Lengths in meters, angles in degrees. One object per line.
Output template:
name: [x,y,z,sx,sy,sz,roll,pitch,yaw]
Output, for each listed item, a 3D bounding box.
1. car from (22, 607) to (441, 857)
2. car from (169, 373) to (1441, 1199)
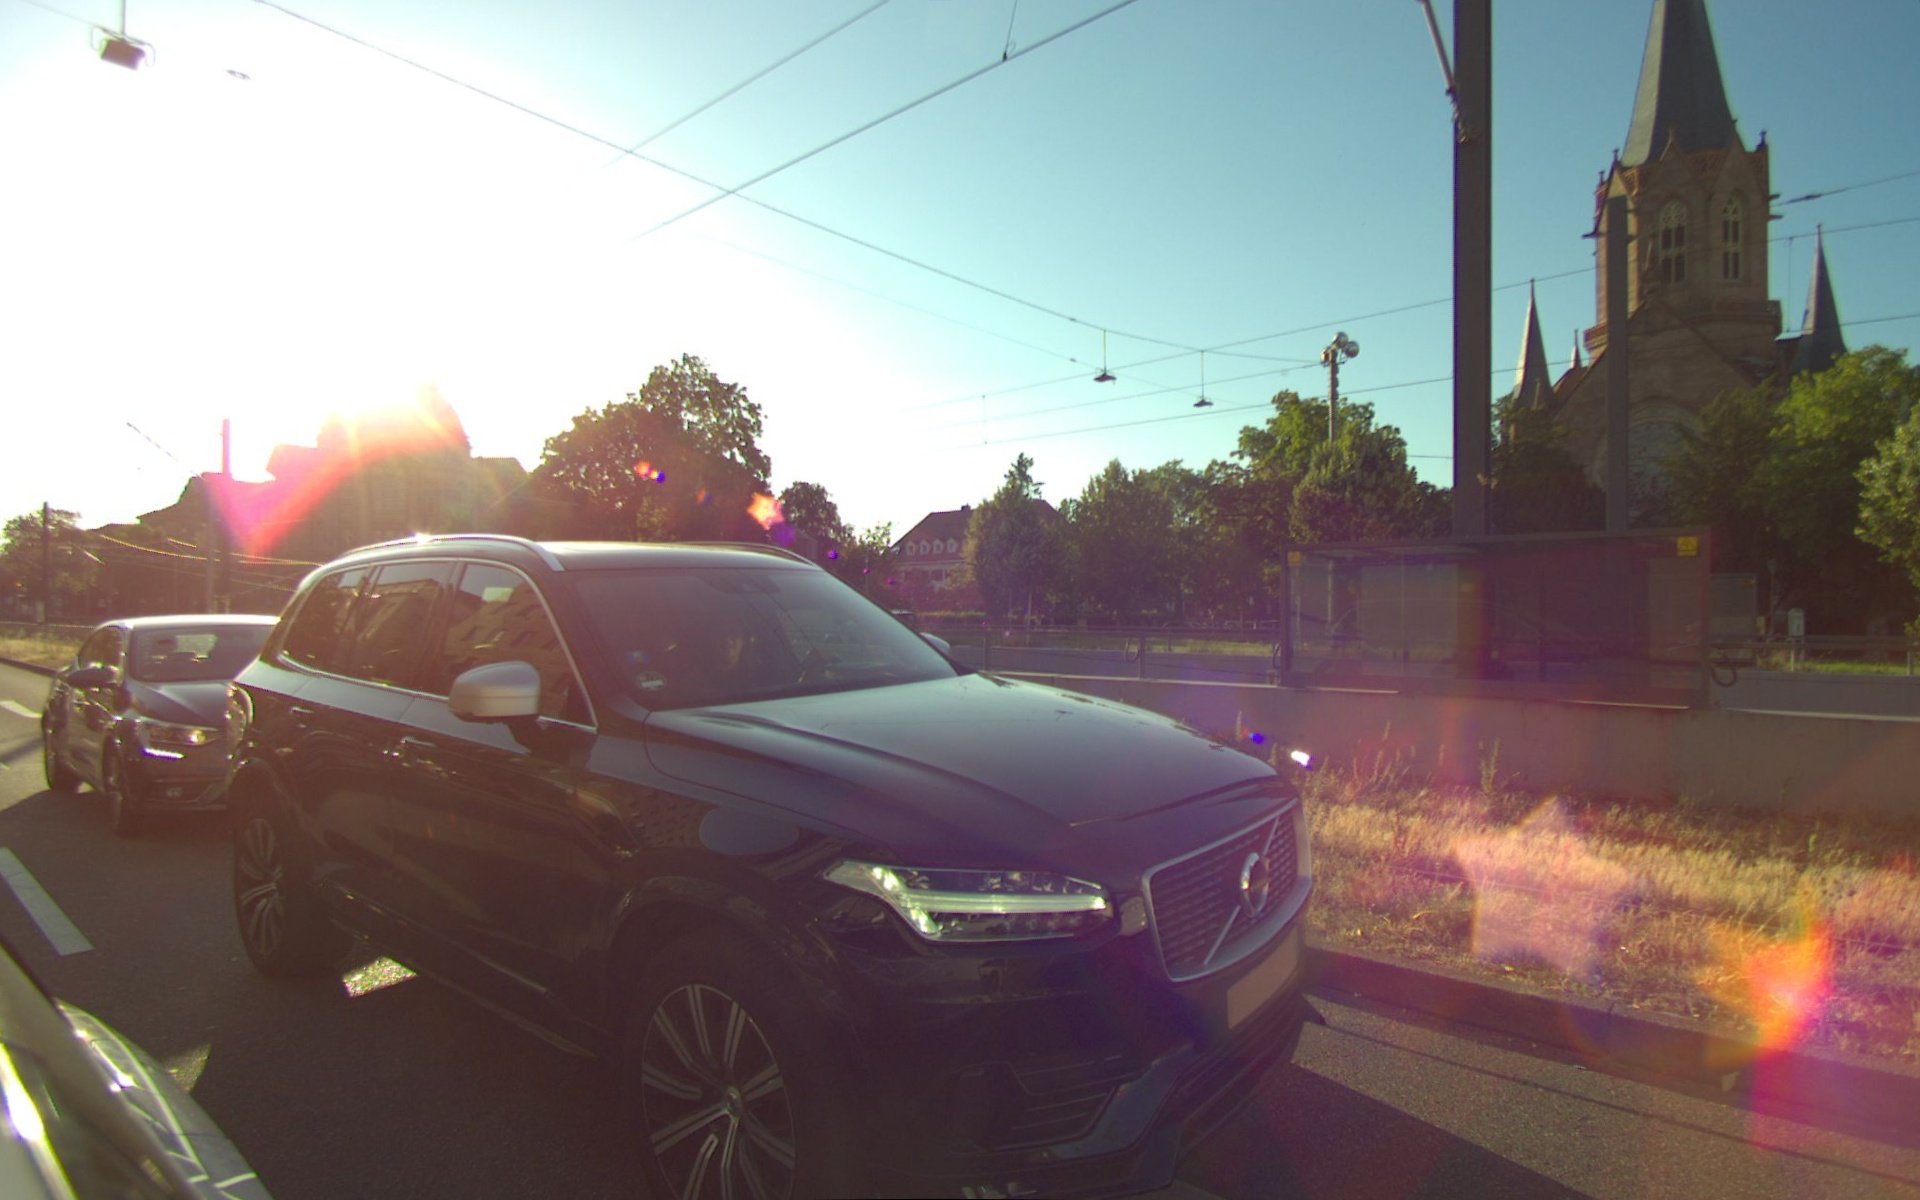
car: [-5.829,0.807,7.925,3.917,1.411,1.792,-1,1,41]
car: [-1.080,0.545,3.760,4.847,1.725,1.931,-1,1,40]
